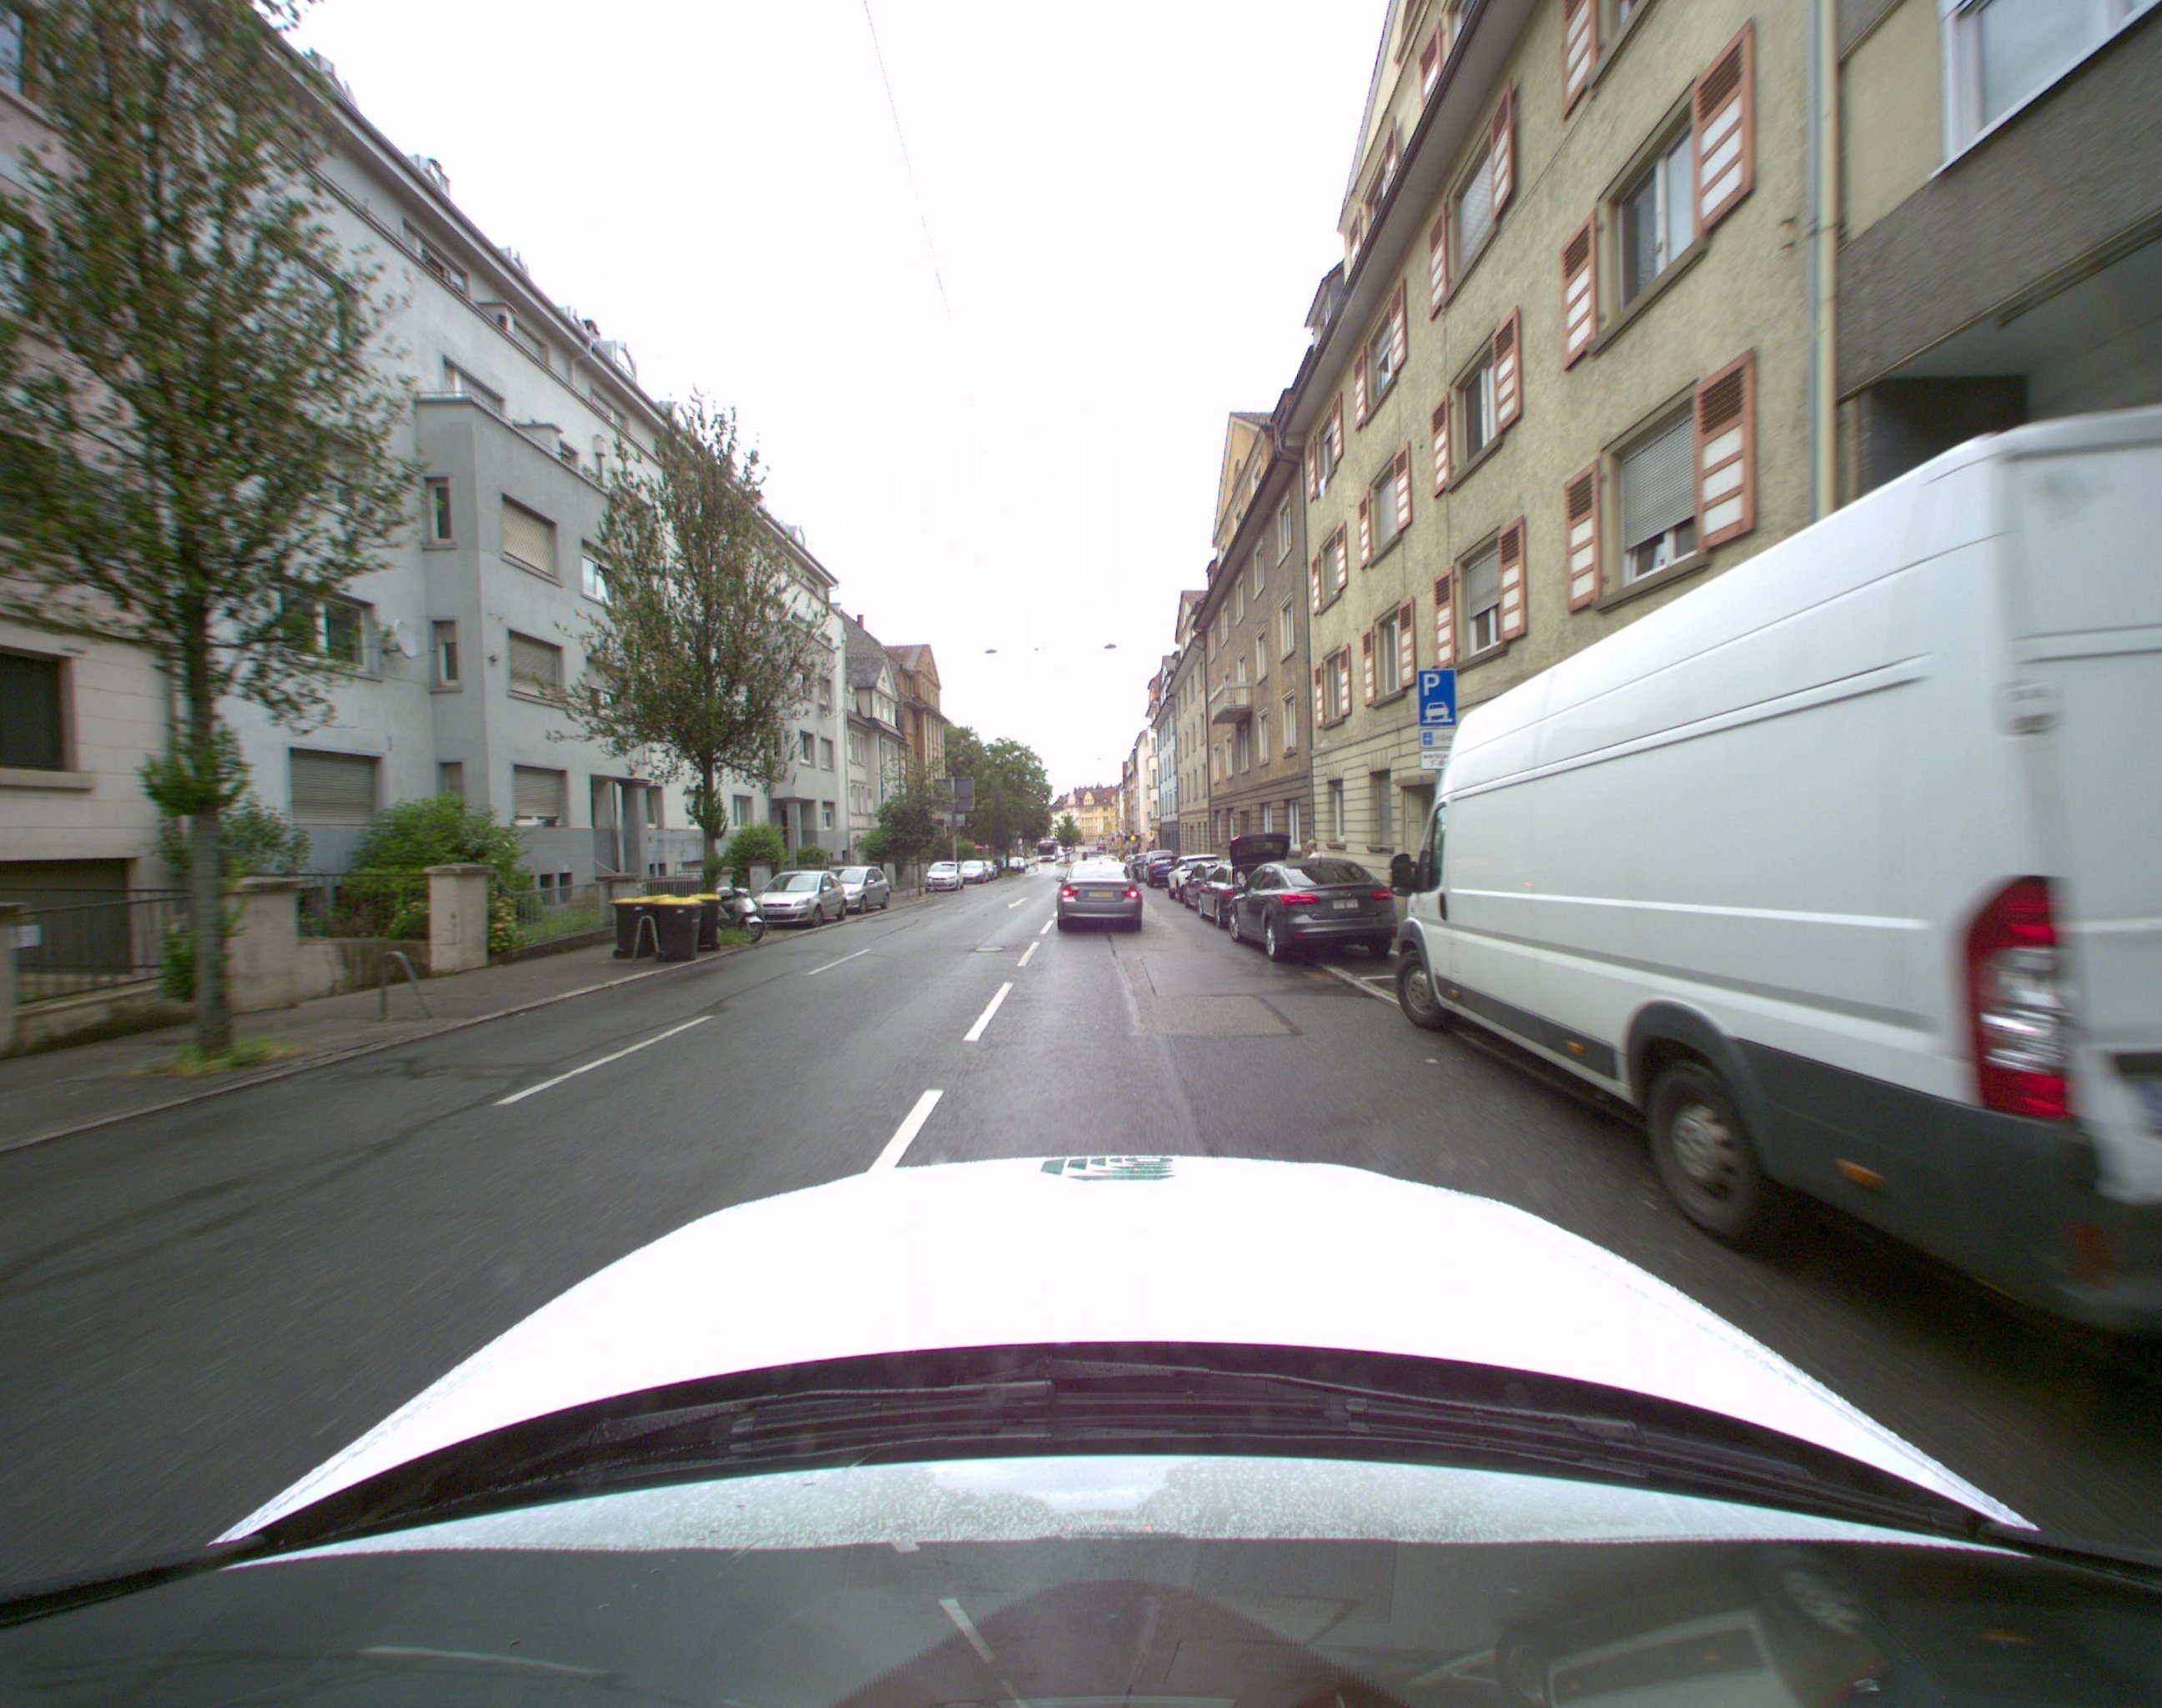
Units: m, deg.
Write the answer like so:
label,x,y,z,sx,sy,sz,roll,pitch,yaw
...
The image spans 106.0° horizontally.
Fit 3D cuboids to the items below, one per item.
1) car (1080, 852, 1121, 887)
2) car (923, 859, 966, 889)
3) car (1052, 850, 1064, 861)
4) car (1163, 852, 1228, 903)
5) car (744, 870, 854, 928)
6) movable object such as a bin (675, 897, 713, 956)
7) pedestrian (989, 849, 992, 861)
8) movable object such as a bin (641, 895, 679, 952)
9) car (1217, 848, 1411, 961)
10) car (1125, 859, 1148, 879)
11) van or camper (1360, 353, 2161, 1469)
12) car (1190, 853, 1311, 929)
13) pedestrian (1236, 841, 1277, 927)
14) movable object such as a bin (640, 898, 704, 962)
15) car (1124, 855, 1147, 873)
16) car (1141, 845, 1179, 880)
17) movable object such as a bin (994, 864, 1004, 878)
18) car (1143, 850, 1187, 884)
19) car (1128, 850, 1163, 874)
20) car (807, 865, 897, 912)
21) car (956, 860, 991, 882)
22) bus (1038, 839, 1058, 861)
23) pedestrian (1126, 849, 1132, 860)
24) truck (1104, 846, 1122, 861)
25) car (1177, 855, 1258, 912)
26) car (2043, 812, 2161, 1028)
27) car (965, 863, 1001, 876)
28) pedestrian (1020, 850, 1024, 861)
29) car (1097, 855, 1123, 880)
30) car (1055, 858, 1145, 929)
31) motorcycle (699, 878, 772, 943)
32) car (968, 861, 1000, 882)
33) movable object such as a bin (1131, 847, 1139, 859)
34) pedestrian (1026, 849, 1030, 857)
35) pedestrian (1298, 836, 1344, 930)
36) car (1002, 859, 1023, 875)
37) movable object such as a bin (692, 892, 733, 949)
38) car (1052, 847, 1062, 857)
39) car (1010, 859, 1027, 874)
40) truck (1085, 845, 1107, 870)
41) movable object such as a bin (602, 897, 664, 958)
label,x,y,z,sx,sy,sz,roll,pitch,yaw
car,0.827,0.694,35.856,1.597,1.420,3.285,2,-1,-2
car,-7.104,1.030,42.667,1.641,1.508,3.795,-1,-1,-1
car,-4.311,0.330,152.225,1.987,2.014,3.998,2,-1,0
car,3.971,0.792,28.832,1.627,1.638,4.193,2,-1,-1
car,-7.494,1.152,22.034,1.595,1.396,3.886,-1,-1,0
movable object such as a bin,-7.191,1.339,15.159,0.471,1.058,0.482,2,-1,-8
pedestrian,-13.304,0.184,119.679,0.464,1.790,0.543,2,-1,-6
movable object such as a bin,-8.046,1.322,15.585,0.471,1.058,0.482,2,-1,-8
car,3.515,0.723,13.151,1.773,1.479,4.186,-1,-1,-2
car,4.592,1.221,67.790,1.578,1.429,3.595,-4,0,0
van or camper,3.658,0.106,5.105,2.173,2.699,6.430,-2,0,6
car,3.721,0.787,18.725,1.772,1.479,4.586,-1,-1,0
pedestrian,3.603,0.620,16.811,0.628,1.691,0.635,-3,-3,2
movable object such as a bin,-7.149,1.326,14.240,0.821,1.058,0.484,2,-1,2
car,4.964,0.887,74.903,1.811,1.558,4.294,-3,0,1
car,4.519,0.466,46.950,1.784,1.817,4.080,-3,0,0
movable object such as a bin,-6.432,1.330,63.869,0.627,1.058,0.600,-1,-1,1
car,4.115,0.605,40.553,1.784,1.548,4.227,-3,0,1
car,4.207,0.529,53.620,1.835,1.409,4.386,-3,0,0
car,-7.524,1.099,27.146,1.593,1.451,3.892,-1,-1,4
car,-6.922,1.061,52.895,1.676,1.390,3.910,0,0,1
bus,-5.244,-0.497,131.914,2.672,3.201,11.952,2,-1,0
pedestrian,7.353,0.068,125.213,0.745,1.661,0.757,1,-1,10
truck,4.639,-0.060,118.462,2.210,2.117,4.648,3,-1,-2
car,3.859,0.797,23.553,1.627,1.479,3.733,2,-1,-1
car,8.919,0.353,5.151,3.645,1.391,1.896,-3,1,-5
car,-10.855,1.685,90.521,3.804,1.390,1.742,0,-1,-1
pedestrian,-9.256,0.290,127.621,0.542,1.709,0.465,2,-1,-6
car,1.691,0.801,47.171,1.430,1.357,3.764,2,-1,2
car,0.395,0.795,17.377,1.750,1.362,3.164,0,-1,1
motorcycle,-7.504,1.190,17.647,1.788,1.315,0.746,-2,0,42
car,-6.943,1.256,58.789,1.676,1.390,3.937,-2,0,1
movable object such as a bin,8.288,-0.122,125.430,1.119,1.702,1.433,-2,-1,-2
pedestrian,-9.285,-0.096,141.882,0.617,1.378,0.545,2,-1,1
pedestrian,4.733,0.561,16.025,0.705,1.787,0.690,-4,-2,21
car,-6.548,1.241,78.124,1.649,1.454,3.941,-1,0,-1
movable object such as a bin,-7.195,1.288,15.910,0.522,1.058,0.484,2,-1,2
car,-4.894,-0.401,167.732,1.987,2.014,3.999,2,-1,0
car,-6.346,1.278,82.593,1.628,1.454,3.835,-1,0,-3
truck,1.616,0.400,89.593,2.210,2.544,4.778,2,-1,0
movable object such as a bin,-8.050,1.316,14.653,0.821,1.058,0.484,1,-1,1
